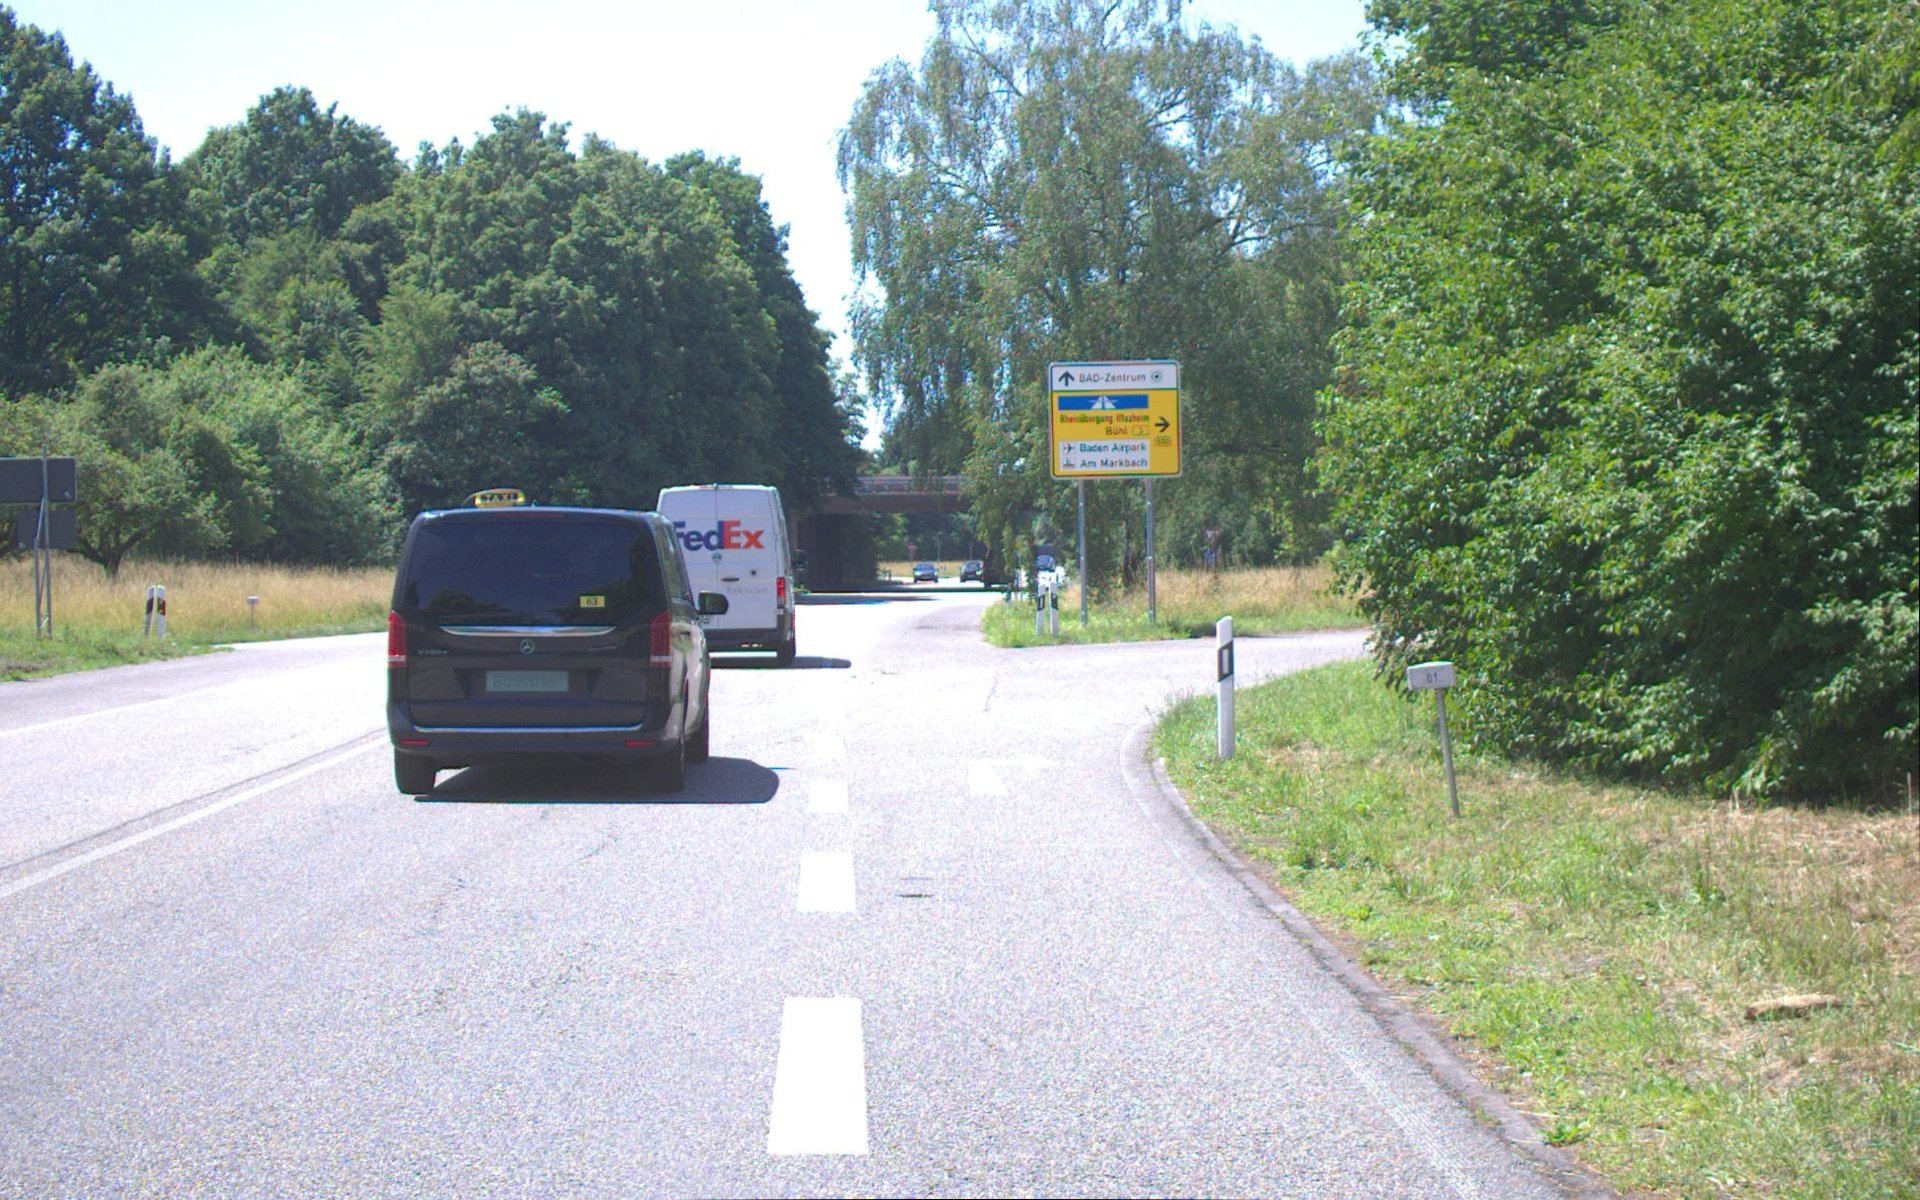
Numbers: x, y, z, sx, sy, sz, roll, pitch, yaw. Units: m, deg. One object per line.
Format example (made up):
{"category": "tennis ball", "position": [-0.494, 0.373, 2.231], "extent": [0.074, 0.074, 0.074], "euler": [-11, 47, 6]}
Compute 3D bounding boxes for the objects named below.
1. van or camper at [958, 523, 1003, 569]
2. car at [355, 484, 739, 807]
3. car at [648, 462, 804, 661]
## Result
{"category": "van or camper", "position": [1.326, -3.543, 225.478], "extent": [2.631, 2.919, 5.207], "euler": [1, 0, -3]}
{"category": "car", "position": [-2.712, 0.253, 23.756], "extent": [1.993, 1.946, 5.005], "euler": [1, 1, 0]}
{"category": "car", "position": [-3.352, -0.554, 49.784], "extent": [2.078, 2.693, 4.667], "euler": [1, 1, -3]}
